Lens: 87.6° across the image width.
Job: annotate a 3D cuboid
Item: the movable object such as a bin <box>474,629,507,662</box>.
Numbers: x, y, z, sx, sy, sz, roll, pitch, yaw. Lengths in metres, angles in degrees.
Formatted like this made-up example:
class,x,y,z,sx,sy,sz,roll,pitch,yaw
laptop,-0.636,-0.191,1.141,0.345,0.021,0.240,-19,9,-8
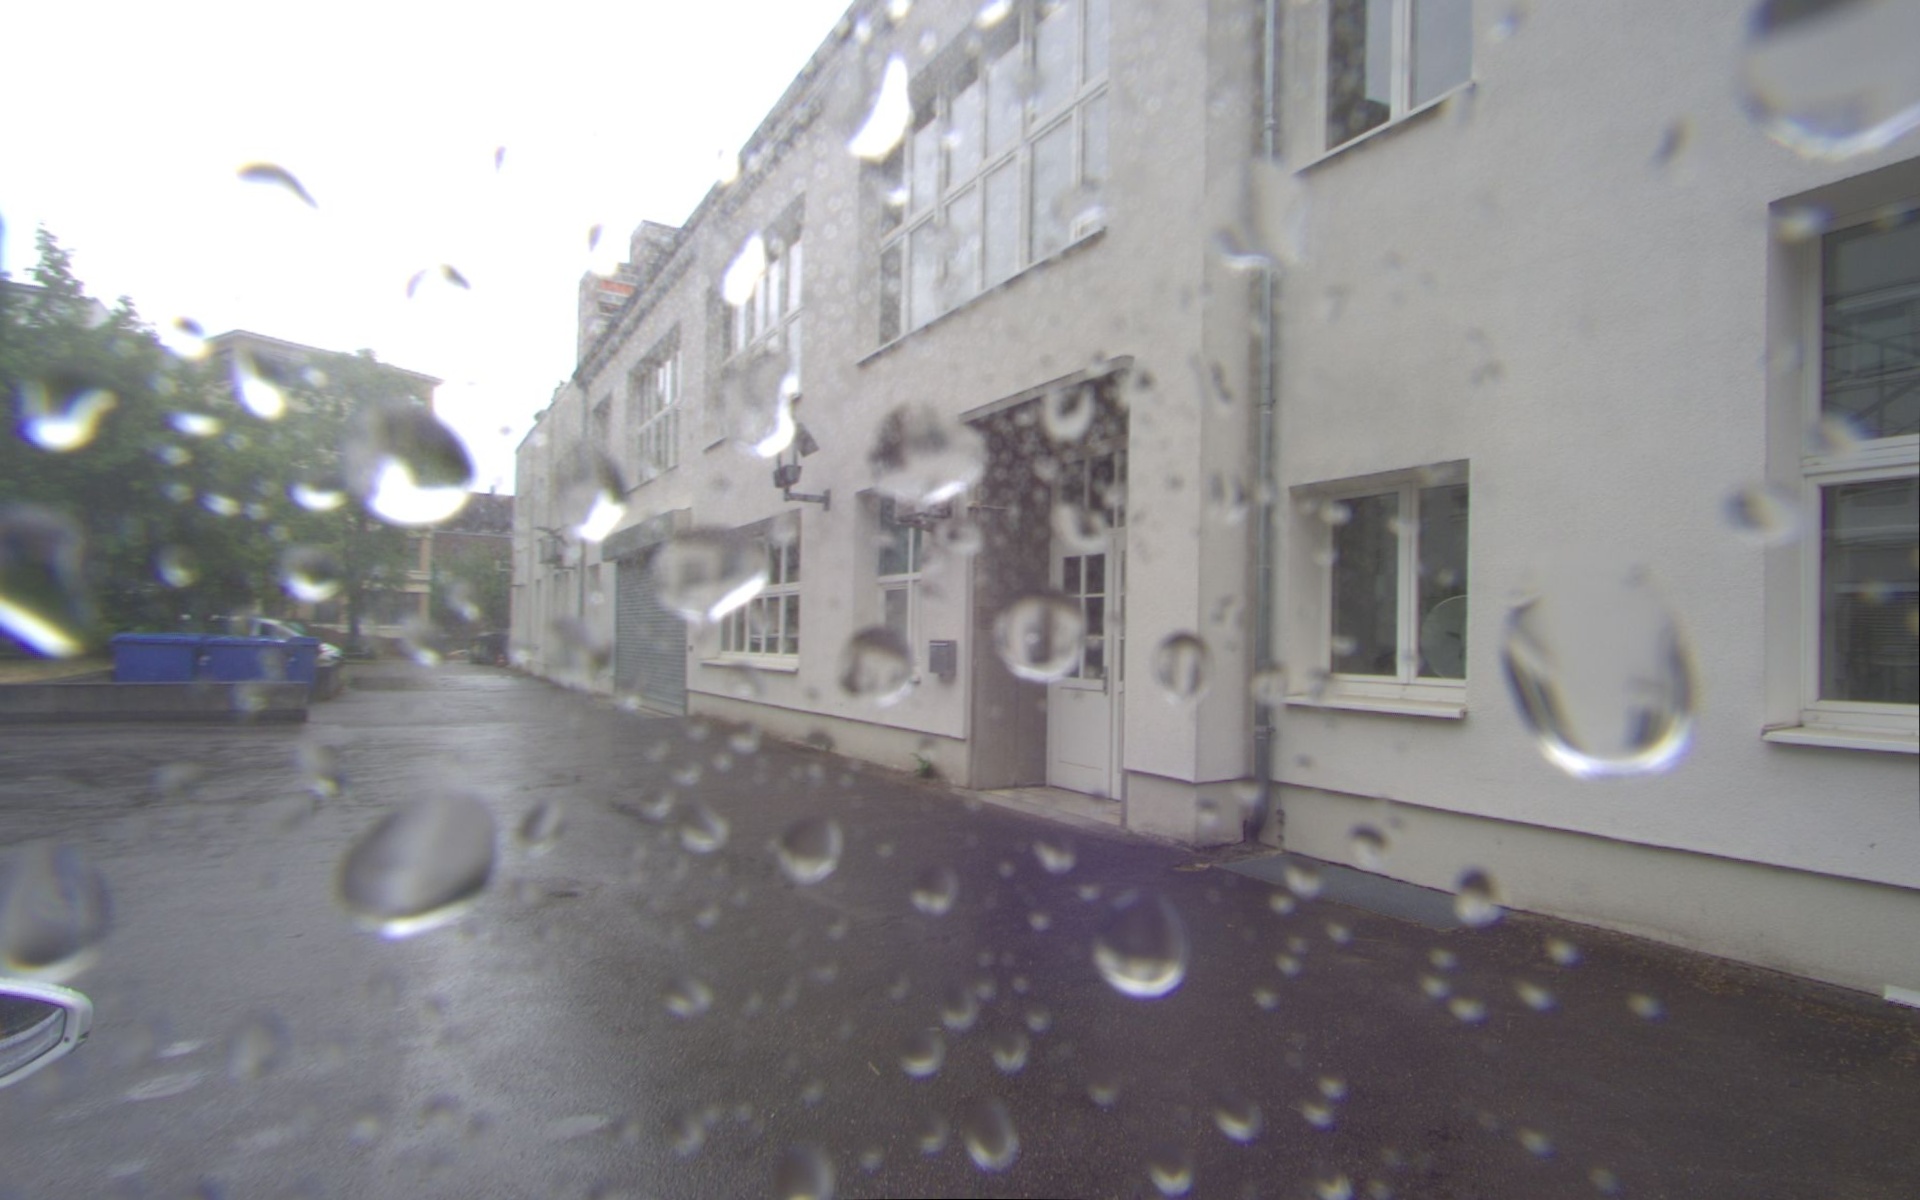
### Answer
class,x,y,z,sx,sy,sz,roll,pitch,yaw
movable object such as a bin,-21.580,2.110,46.059,1.202,1.454,1.288,3,-4,-32

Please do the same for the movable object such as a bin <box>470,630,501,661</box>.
class,x,y,z,sx,sy,sz,roll,pitch,yaw
movable object such as a bin,-23.069,2.226,48.655,1.202,1.454,1.253,3,-4,-32

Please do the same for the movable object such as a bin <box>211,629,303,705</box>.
class,x,y,z,sx,sy,sz,roll,pitch,yaw
movable object such as a bin,-13.033,1.231,18.615,1.188,1.354,1.113,2,-2,-26

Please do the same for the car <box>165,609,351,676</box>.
class,x,y,z,sx,sy,sz,roll,pitch,yaw
car,-22.700,1.368,32.657,4.727,2.039,1.990,2,-1,-29

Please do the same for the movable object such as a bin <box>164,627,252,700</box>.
class,x,y,z,sx,sy,sz,roll,pitch,yaw
movable object such as a bin,-14.646,1.232,19.537,1.208,1.354,1.001,2,-1,-30

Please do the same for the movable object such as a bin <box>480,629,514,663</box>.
class,x,y,z,sx,sy,sz,roll,pitch,yaw
movable object such as a bin,-20.654,2.057,44.649,1.202,1.454,1.230,3,-4,-32

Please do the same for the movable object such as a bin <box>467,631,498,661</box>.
class,x,y,z,sx,sy,sz,roll,pitch,yaw
movable object such as a bin,-23.772,2.313,49.832,1.202,1.454,1.253,3,-4,-32

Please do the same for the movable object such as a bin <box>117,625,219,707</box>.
class,x,y,z,sx,sy,sz,roll,pitch,yaw
movable object such as a bin,-14.151,1.166,17.935,1.190,1.354,1.111,4,-1,-29

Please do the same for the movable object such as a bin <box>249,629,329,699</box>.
class,x,y,z,sx,sy,sz,roll,pitch,yaw
movable object such as a bin,-13.561,1.287,20.282,1.208,1.354,1.001,2,-2,-30
